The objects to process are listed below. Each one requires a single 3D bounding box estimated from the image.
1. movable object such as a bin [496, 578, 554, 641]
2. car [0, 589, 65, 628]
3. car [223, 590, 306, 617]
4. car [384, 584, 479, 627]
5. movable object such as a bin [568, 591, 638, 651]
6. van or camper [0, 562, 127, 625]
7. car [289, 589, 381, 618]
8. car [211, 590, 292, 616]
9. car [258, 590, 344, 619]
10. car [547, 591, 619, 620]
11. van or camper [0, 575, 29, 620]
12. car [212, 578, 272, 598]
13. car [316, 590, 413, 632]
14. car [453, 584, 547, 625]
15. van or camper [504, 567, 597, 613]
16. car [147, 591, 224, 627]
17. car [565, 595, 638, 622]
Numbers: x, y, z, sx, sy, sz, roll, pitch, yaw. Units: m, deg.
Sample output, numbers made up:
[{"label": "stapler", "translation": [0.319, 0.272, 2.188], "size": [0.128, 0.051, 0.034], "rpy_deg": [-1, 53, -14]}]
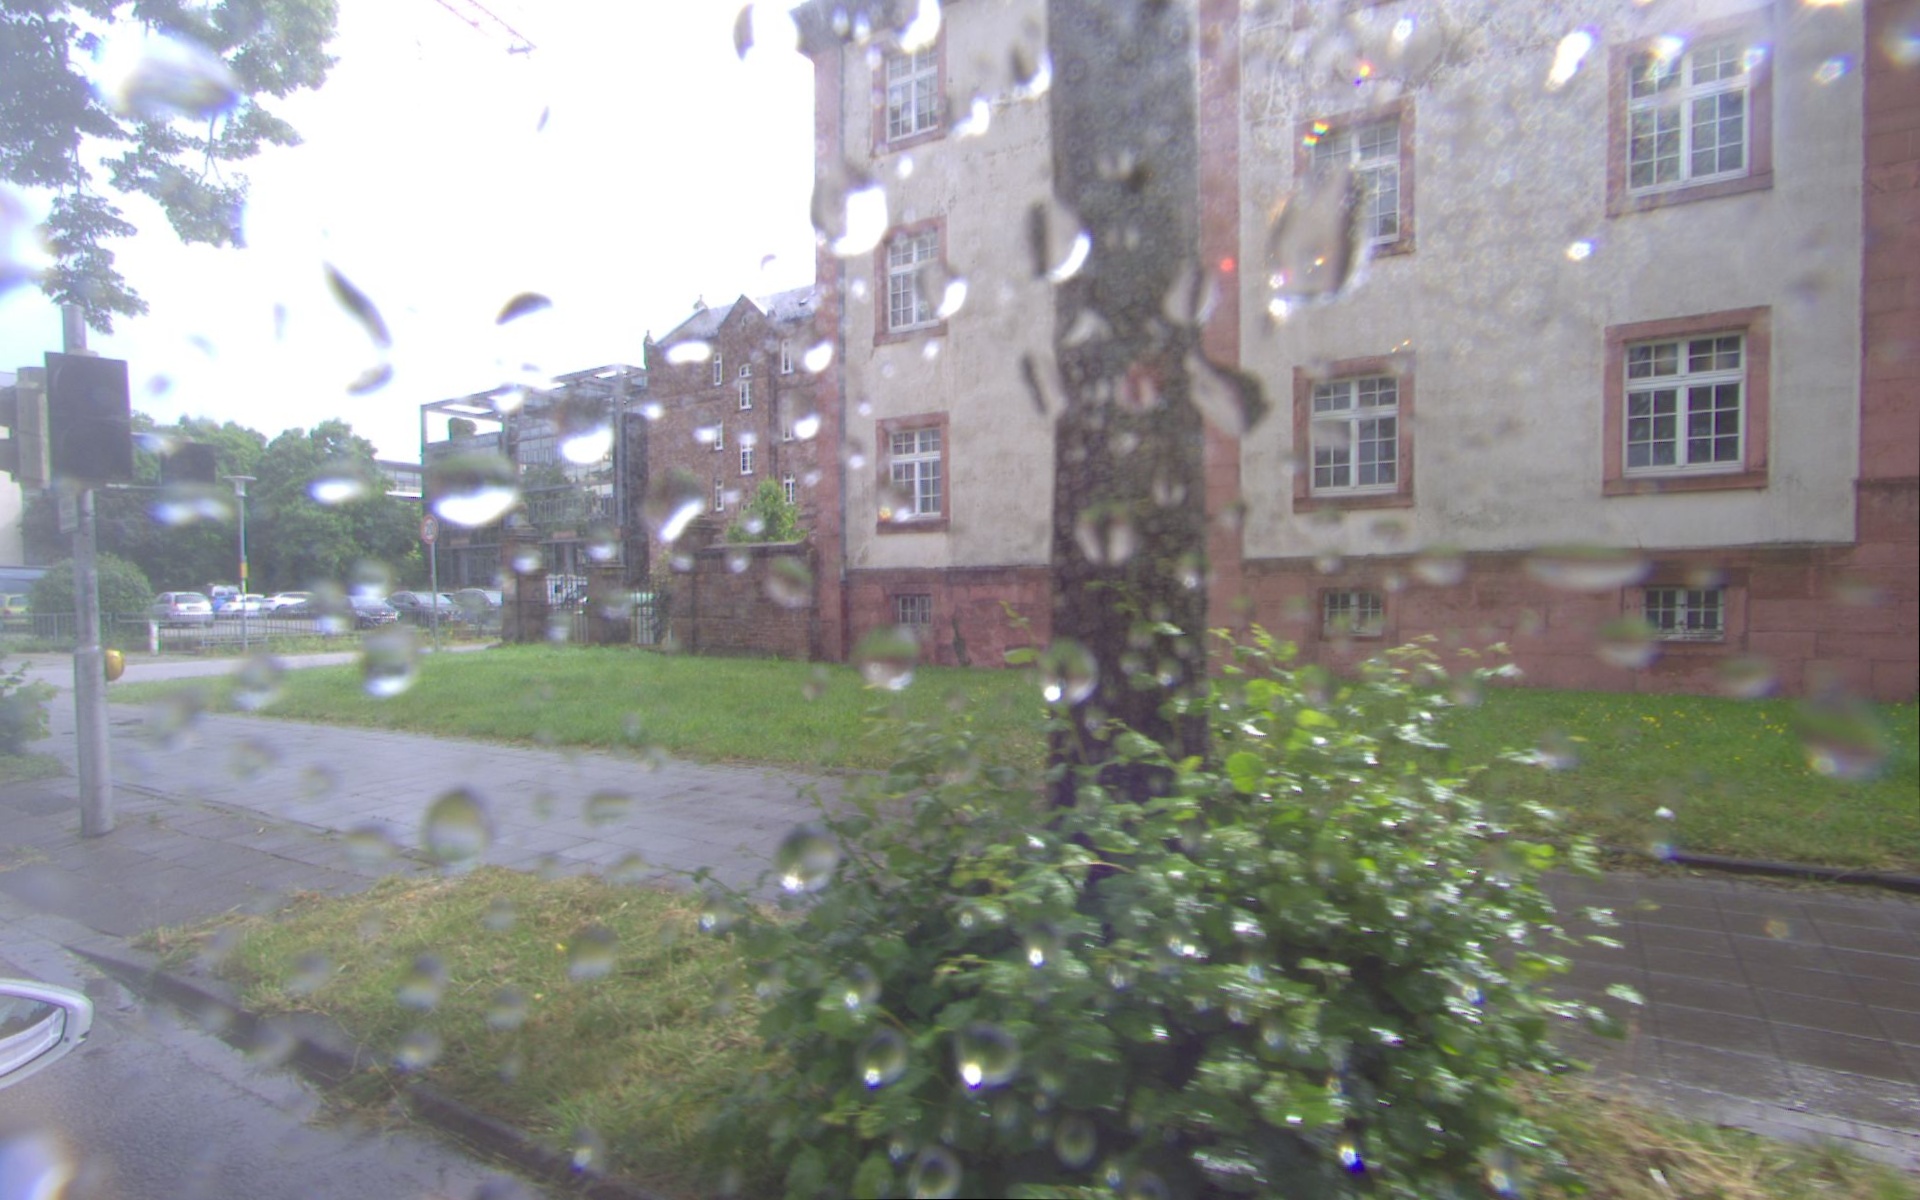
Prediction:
[{"label": "movable object such as a bin", "translation": [-10.465, 0.217, 24.092], "size": [1.081, 1.477, 0.797], "rpy_deg": [1, 3, 34]}, {"label": "car", "translation": [-37.082, 0.300, 39.695], "size": [3.369, 1.468, 1.606], "rpy_deg": [0, 1, 34]}, {"label": "car", "translation": [-40.941, 0.171, 59.018], "size": [1.617, 1.506, 3.654], "rpy_deg": [0, 1, 36]}, {"label": "car", "translation": [-21.834, 0.203, 41.302], "size": [4.368, 1.702, 1.845], "rpy_deg": [0, 1, 39]}, {"label": "movable object such as a bin", "translation": [-9.334, 0.530, 26.215], "size": [1.371, 1.477, 1.103], "rpy_deg": [1, 3, 34]}, {"label": "van or camper", "translation": [-39.250, -0.264, 42.985], "size": [2.145, 2.588, 4.985], "rpy_deg": [-1, 0, 34]}, {"label": "car", "translation": [-34.374, 0.178, 55.181], "size": [1.649, 1.485, 3.962], "rpy_deg": [0, 1, 34]}, {"label": "car", "translation": [-42.740, 0.146, 60.488], "size": [1.617, 1.506, 3.654], "rpy_deg": [0, 1, 36]}, {"label": "car", "translation": [-36.715, 0.213, 55.860], "size": [1.617, 1.506, 3.654], "rpy_deg": [0, 1, 36]}, {"label": "car", "translation": [-22.074, 0.310, 58.725], "size": [1.649, 1.598, 3.656], "rpy_deg": [0, 1, 34]}, {"label": "van or camper", "translation": [-48.171, -0.114, 48.075], "size": [2.291, 2.160, 4.743], "rpy_deg": [1, 1, 36]}, {"label": "car", "translation": [-51.510, -0.878, 71.894], "size": [1.489, 1.416, 3.214], "rpy_deg": [0, 1, 36]}, {"label": "car", "translation": [-23.524, 0.391, 39.510], "size": [4.367, 1.547, 1.822], "rpy_deg": [0, 1, 38]}, {"label": "car", "translation": [-20.428, 0.176, 44.430], "size": [4.363, 1.702, 1.847], "rpy_deg": [0, 1, 35]}, {"label": "van or camper", "translation": [-24.565, -0.528, 60.208], "size": [2.226, 2.518, 4.778], "rpy_deg": [-1, -2, 32]}, {"label": "car", "translation": [-33.897, 0.360, 43.803], "size": [3.668, 1.506, 1.643], "rpy_deg": [0, 1, 36]}, {"label": "car", "translation": [-20.467, 0.469, 57.289], "size": [1.649, 1.506, 3.657], "rpy_deg": [0, 0, 34]}]
